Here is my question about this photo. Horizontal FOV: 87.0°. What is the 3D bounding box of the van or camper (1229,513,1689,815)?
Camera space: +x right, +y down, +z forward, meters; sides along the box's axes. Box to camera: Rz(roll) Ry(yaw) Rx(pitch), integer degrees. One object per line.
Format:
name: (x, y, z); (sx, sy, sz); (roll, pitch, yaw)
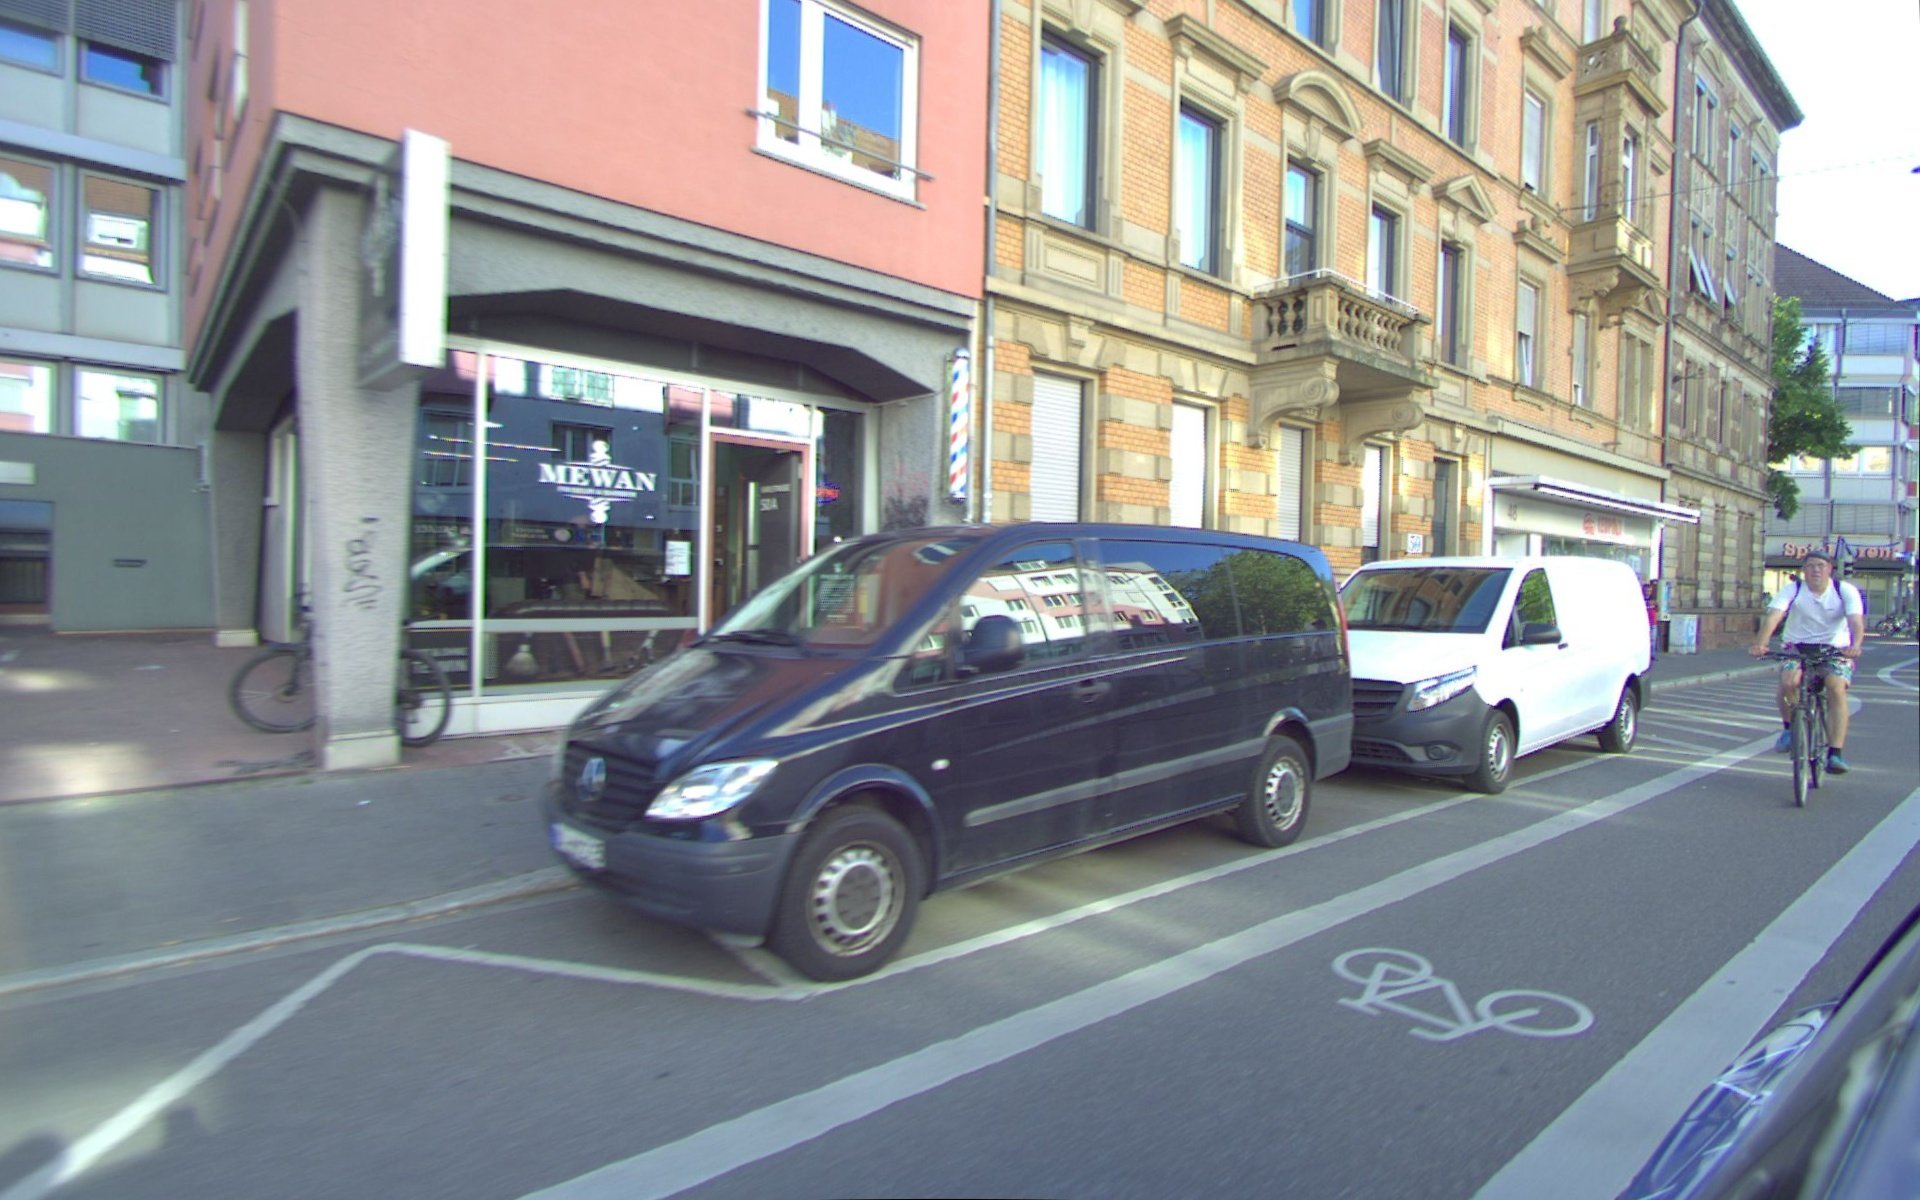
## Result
van or camper: (4.882, 0.394, 9.416); (5.380, 2.062, 1.934); (-1, 1, -41)

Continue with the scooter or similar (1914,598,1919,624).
scooter or similar: (45.533, 0.551, 47.160); (0.581, 1.244, 1.482); (0, 3, -39)

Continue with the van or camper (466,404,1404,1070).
van or camper: (0.329, 0.408, 5.653); (5.240, 2.071, 1.973); (0, 0, -42)

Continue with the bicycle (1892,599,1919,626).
bicycle: (43.902, 0.575, 46.167); (0.617, 1.180, 1.949); (0, 2, -41)

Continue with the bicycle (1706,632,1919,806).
bicycle: (6.706, 0.856, 7.848); (2.053, 1.153, 0.650); (0, 1, -28)

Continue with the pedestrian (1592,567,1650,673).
pedestrian: (11.767, 0.328, 18.023); (0.743, 1.836, 0.674); (0, 1, -41)

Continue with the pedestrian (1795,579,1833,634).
pedestrian: (29.289, 0.222, 34.720); (0.844, 1.830, 0.866); (2, 1, 32)

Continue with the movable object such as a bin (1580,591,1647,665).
movable object such as a bin: (12.734, 0.515, 19.710); (1.277, 1.364, 0.777); (0, 1, -42)

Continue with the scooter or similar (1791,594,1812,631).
scooter or similar: (30.773, 0.448, 37.024); (0.389, 1.305, 1.504); (2, 1, 33)

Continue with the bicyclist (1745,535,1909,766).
bicyclist: (6.713, 0.359, 7.846); (0.908, 1.676, 0.658); (0, 1, -27)

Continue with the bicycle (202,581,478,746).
bicycle: (-4.682, 0.463, 7.675); (1.846, 1.147, 0.427); (2, 2, 2)

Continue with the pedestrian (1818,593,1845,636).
pedestrian: (29.528, 0.485, 34.287); (0.576, 1.432, 0.570); (0, 0, 30)

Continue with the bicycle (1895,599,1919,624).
bicycle: (44.825, 0.561, 47.006); (0.554, 1.120, 1.949); (0, 2, -41)

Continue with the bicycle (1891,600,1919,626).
bicycle: (43.356, 0.594, 45.656); (0.554, 1.120, 1.949); (0, 2, -41)

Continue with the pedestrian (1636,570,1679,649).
pedestrian: (15.712, 0.213, 22.797); (0.576, 1.750, 0.471); (2, 1, -4)

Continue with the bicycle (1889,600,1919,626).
bicycle: (42.894, 0.591, 45.215); (0.554, 1.120, 1.949); (0, 2, -41)

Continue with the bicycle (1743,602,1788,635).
bicycle: (29.551, 0.672, 37.142); (0.437, 1.129, 1.810); (1, 1, 9)
